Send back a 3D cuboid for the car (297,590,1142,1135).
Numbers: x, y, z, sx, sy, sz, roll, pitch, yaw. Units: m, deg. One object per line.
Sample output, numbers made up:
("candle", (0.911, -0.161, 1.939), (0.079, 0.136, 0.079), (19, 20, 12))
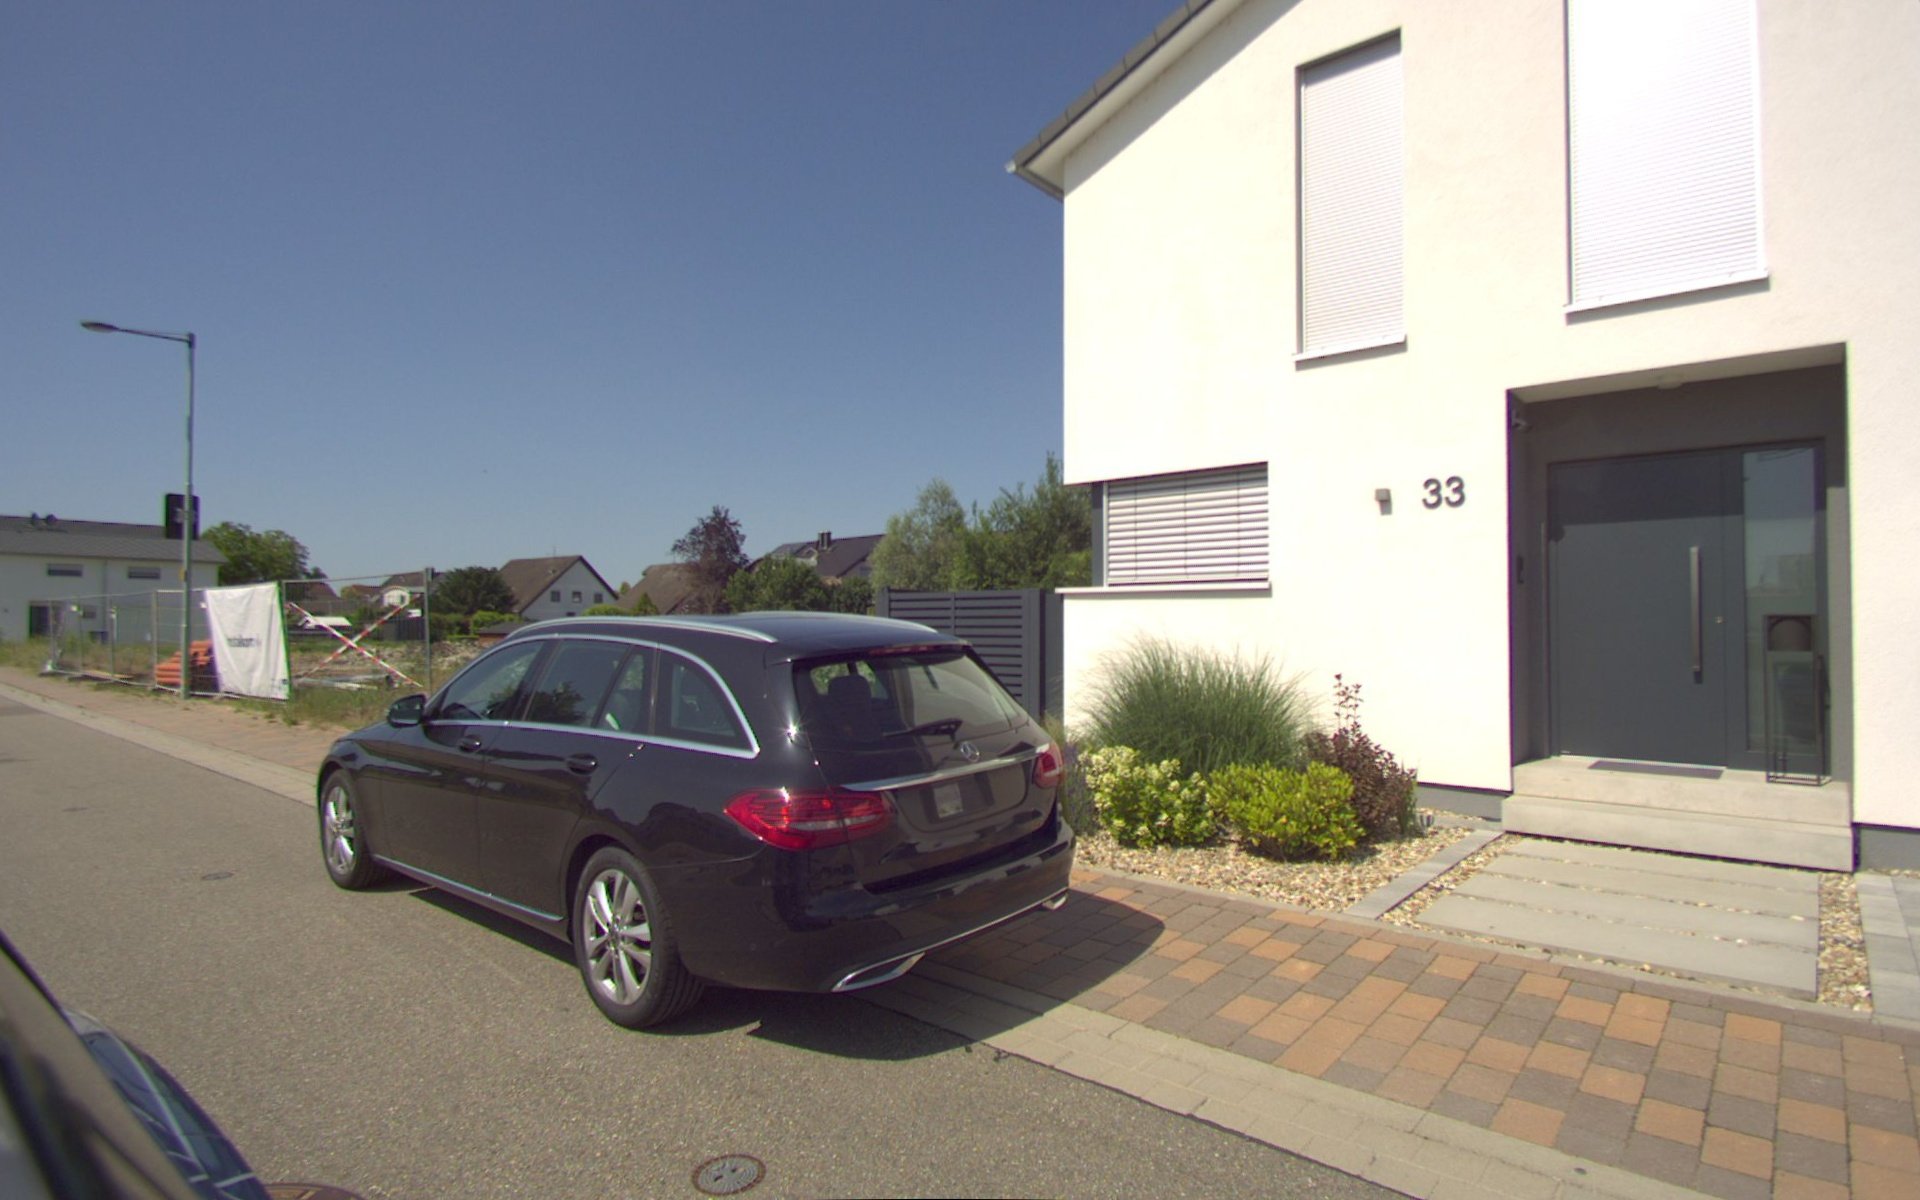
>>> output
("car", (-1.502, 0.755, 4.864), (4.442, 1.484, 1.673), (-2, -1, 41))
